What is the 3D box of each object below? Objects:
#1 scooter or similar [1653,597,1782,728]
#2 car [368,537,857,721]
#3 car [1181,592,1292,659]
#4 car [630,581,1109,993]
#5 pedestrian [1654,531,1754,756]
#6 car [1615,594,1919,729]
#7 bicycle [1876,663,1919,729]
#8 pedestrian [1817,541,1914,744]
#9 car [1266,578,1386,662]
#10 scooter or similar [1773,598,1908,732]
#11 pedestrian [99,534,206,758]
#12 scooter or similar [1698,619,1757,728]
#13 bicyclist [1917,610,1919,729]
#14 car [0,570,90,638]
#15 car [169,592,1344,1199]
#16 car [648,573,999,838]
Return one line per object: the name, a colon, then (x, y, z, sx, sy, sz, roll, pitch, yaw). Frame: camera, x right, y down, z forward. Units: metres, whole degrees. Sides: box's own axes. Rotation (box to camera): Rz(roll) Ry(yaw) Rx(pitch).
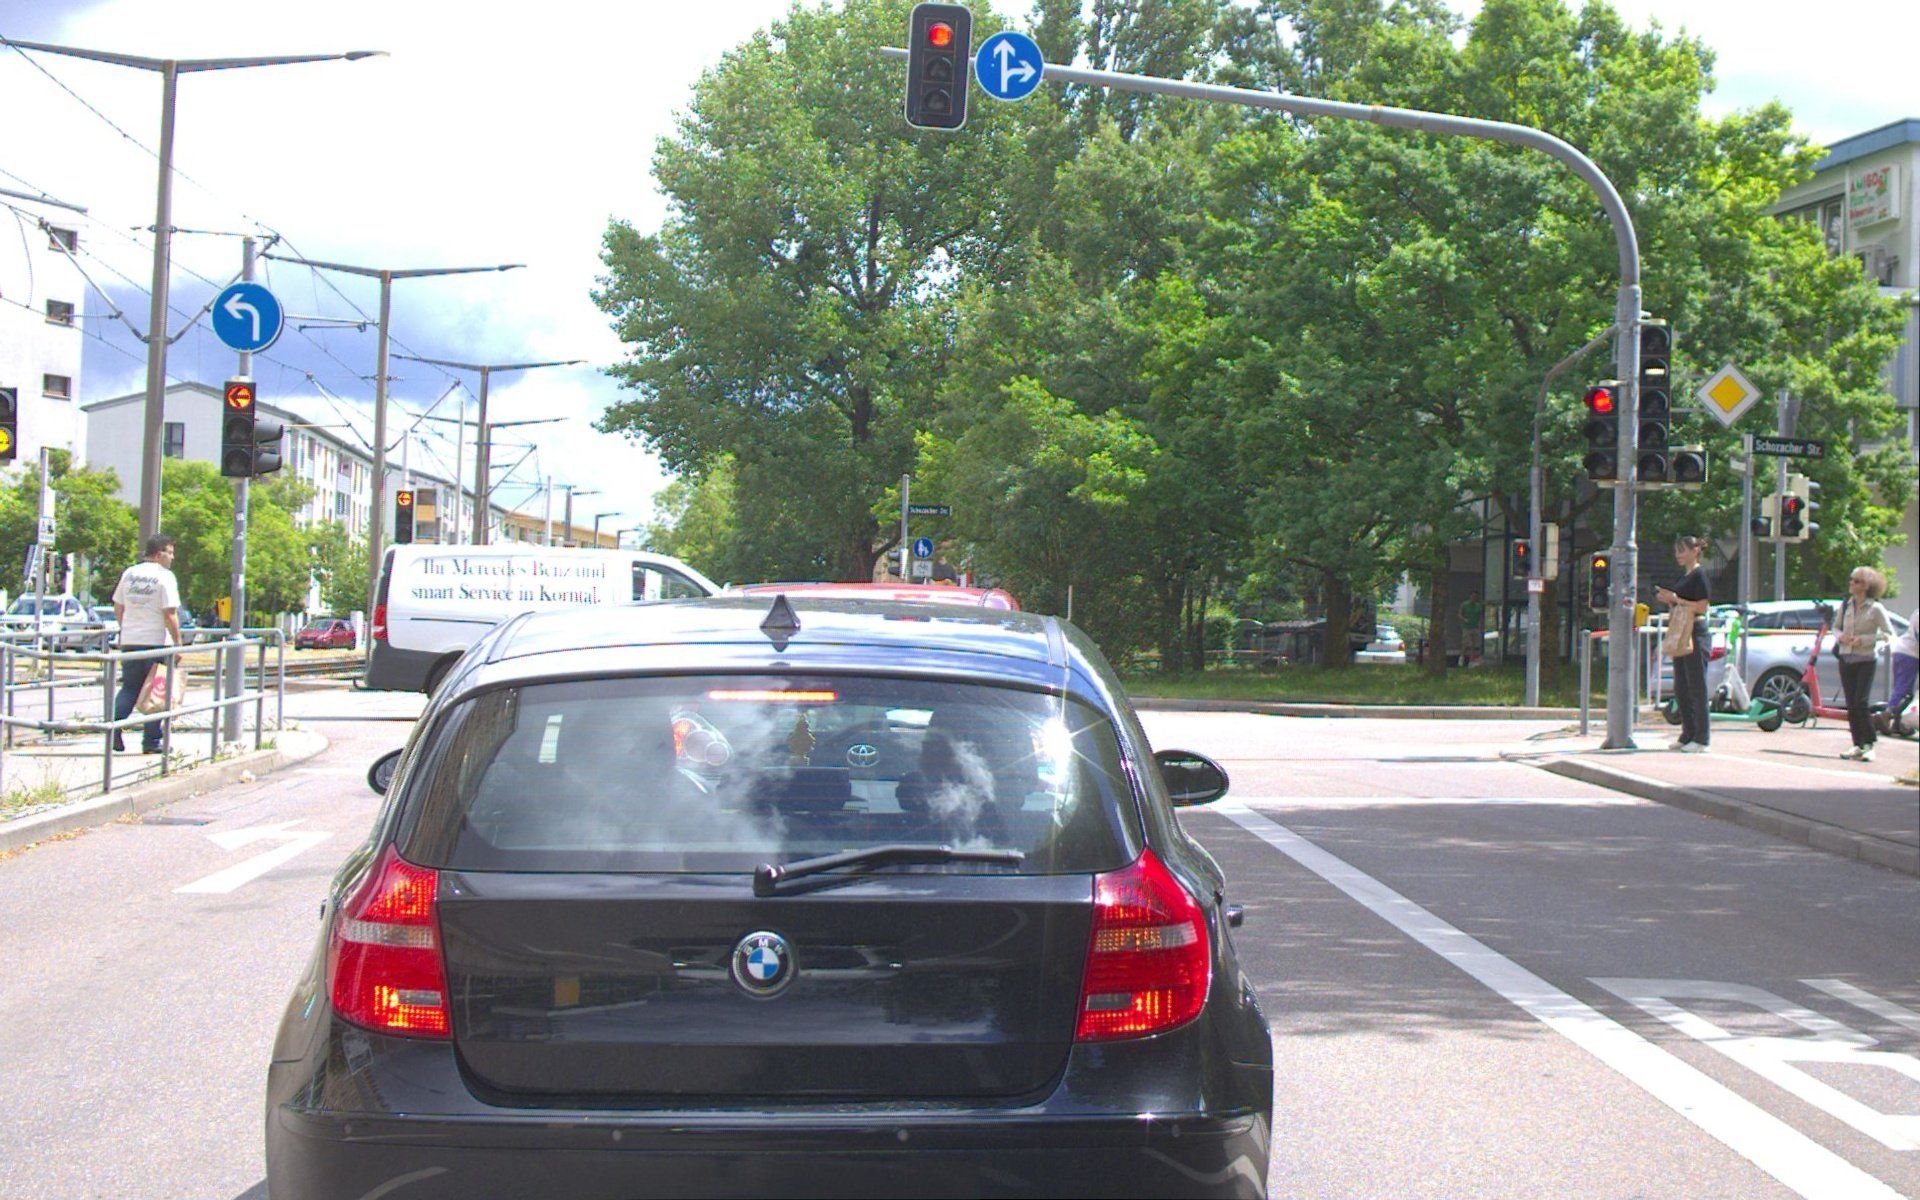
scooter or similar: (7.308, 0.600, 33.193, 1.110, 1.231, 0.539, 1, 0, 2)
car: (-3.858, 0.312, 37.763, 5.168, 1.886, 2.001, 1, 0, -10)
car: (7.271, 0.655, 90.684, 1.862, 1.656, 4.001, 1, 0, -11)
car: (-0.333, 0.639, 13.632, 1.638, 1.395, 3.420, 1, 0, -1)
pedestrian: (6.239, 0.360, 28.852, 0.636, 1.870, 0.518, 1, 0, -11)
car: (10.506, 0.738, 41.238, 4.789, 1.517, 2.000, 1, 0, -8)
bicycle: (9.518, 0.926, 33.358, 0.534, 0.608, 1.586, 1, 1, 42)
pedestrian: (7.939, 0.371, 30.152, 0.636, 1.760, 0.518, 1, 0, -11)
car: (8.444, 0.452, 79.648, 1.726, 1.865, 4.001, 1, 0, -9)
scooter or similar: (8.677, 0.639, 33.915, 1.150, 1.268, 0.555, 2, 0, 2)
pedestrian: (-6.311, 0.352, 26.863, 0.687, 1.728, 0.688, 1, 0, -23)
scooter or similar: (7.794, 0.738, 34.901, 0.548, 1.060, 1.261, 1, 0, 13)
bicyclist: (9.656, 0.679, 33.496, 0.502, 1.153, 0.399, 0, 0, 42)
car: (-24.684, 0.088, 92.581, 1.591, 1.750, 3.775, 1, 0, -2)
car: (-0.320, 0.707, 6.729, 1.700, 1.395, 3.420, 1, 0, -1)
car: (-0.775, 0.561, 21.102, 1.900, 1.417, 4.539, 1, 0, -1)
